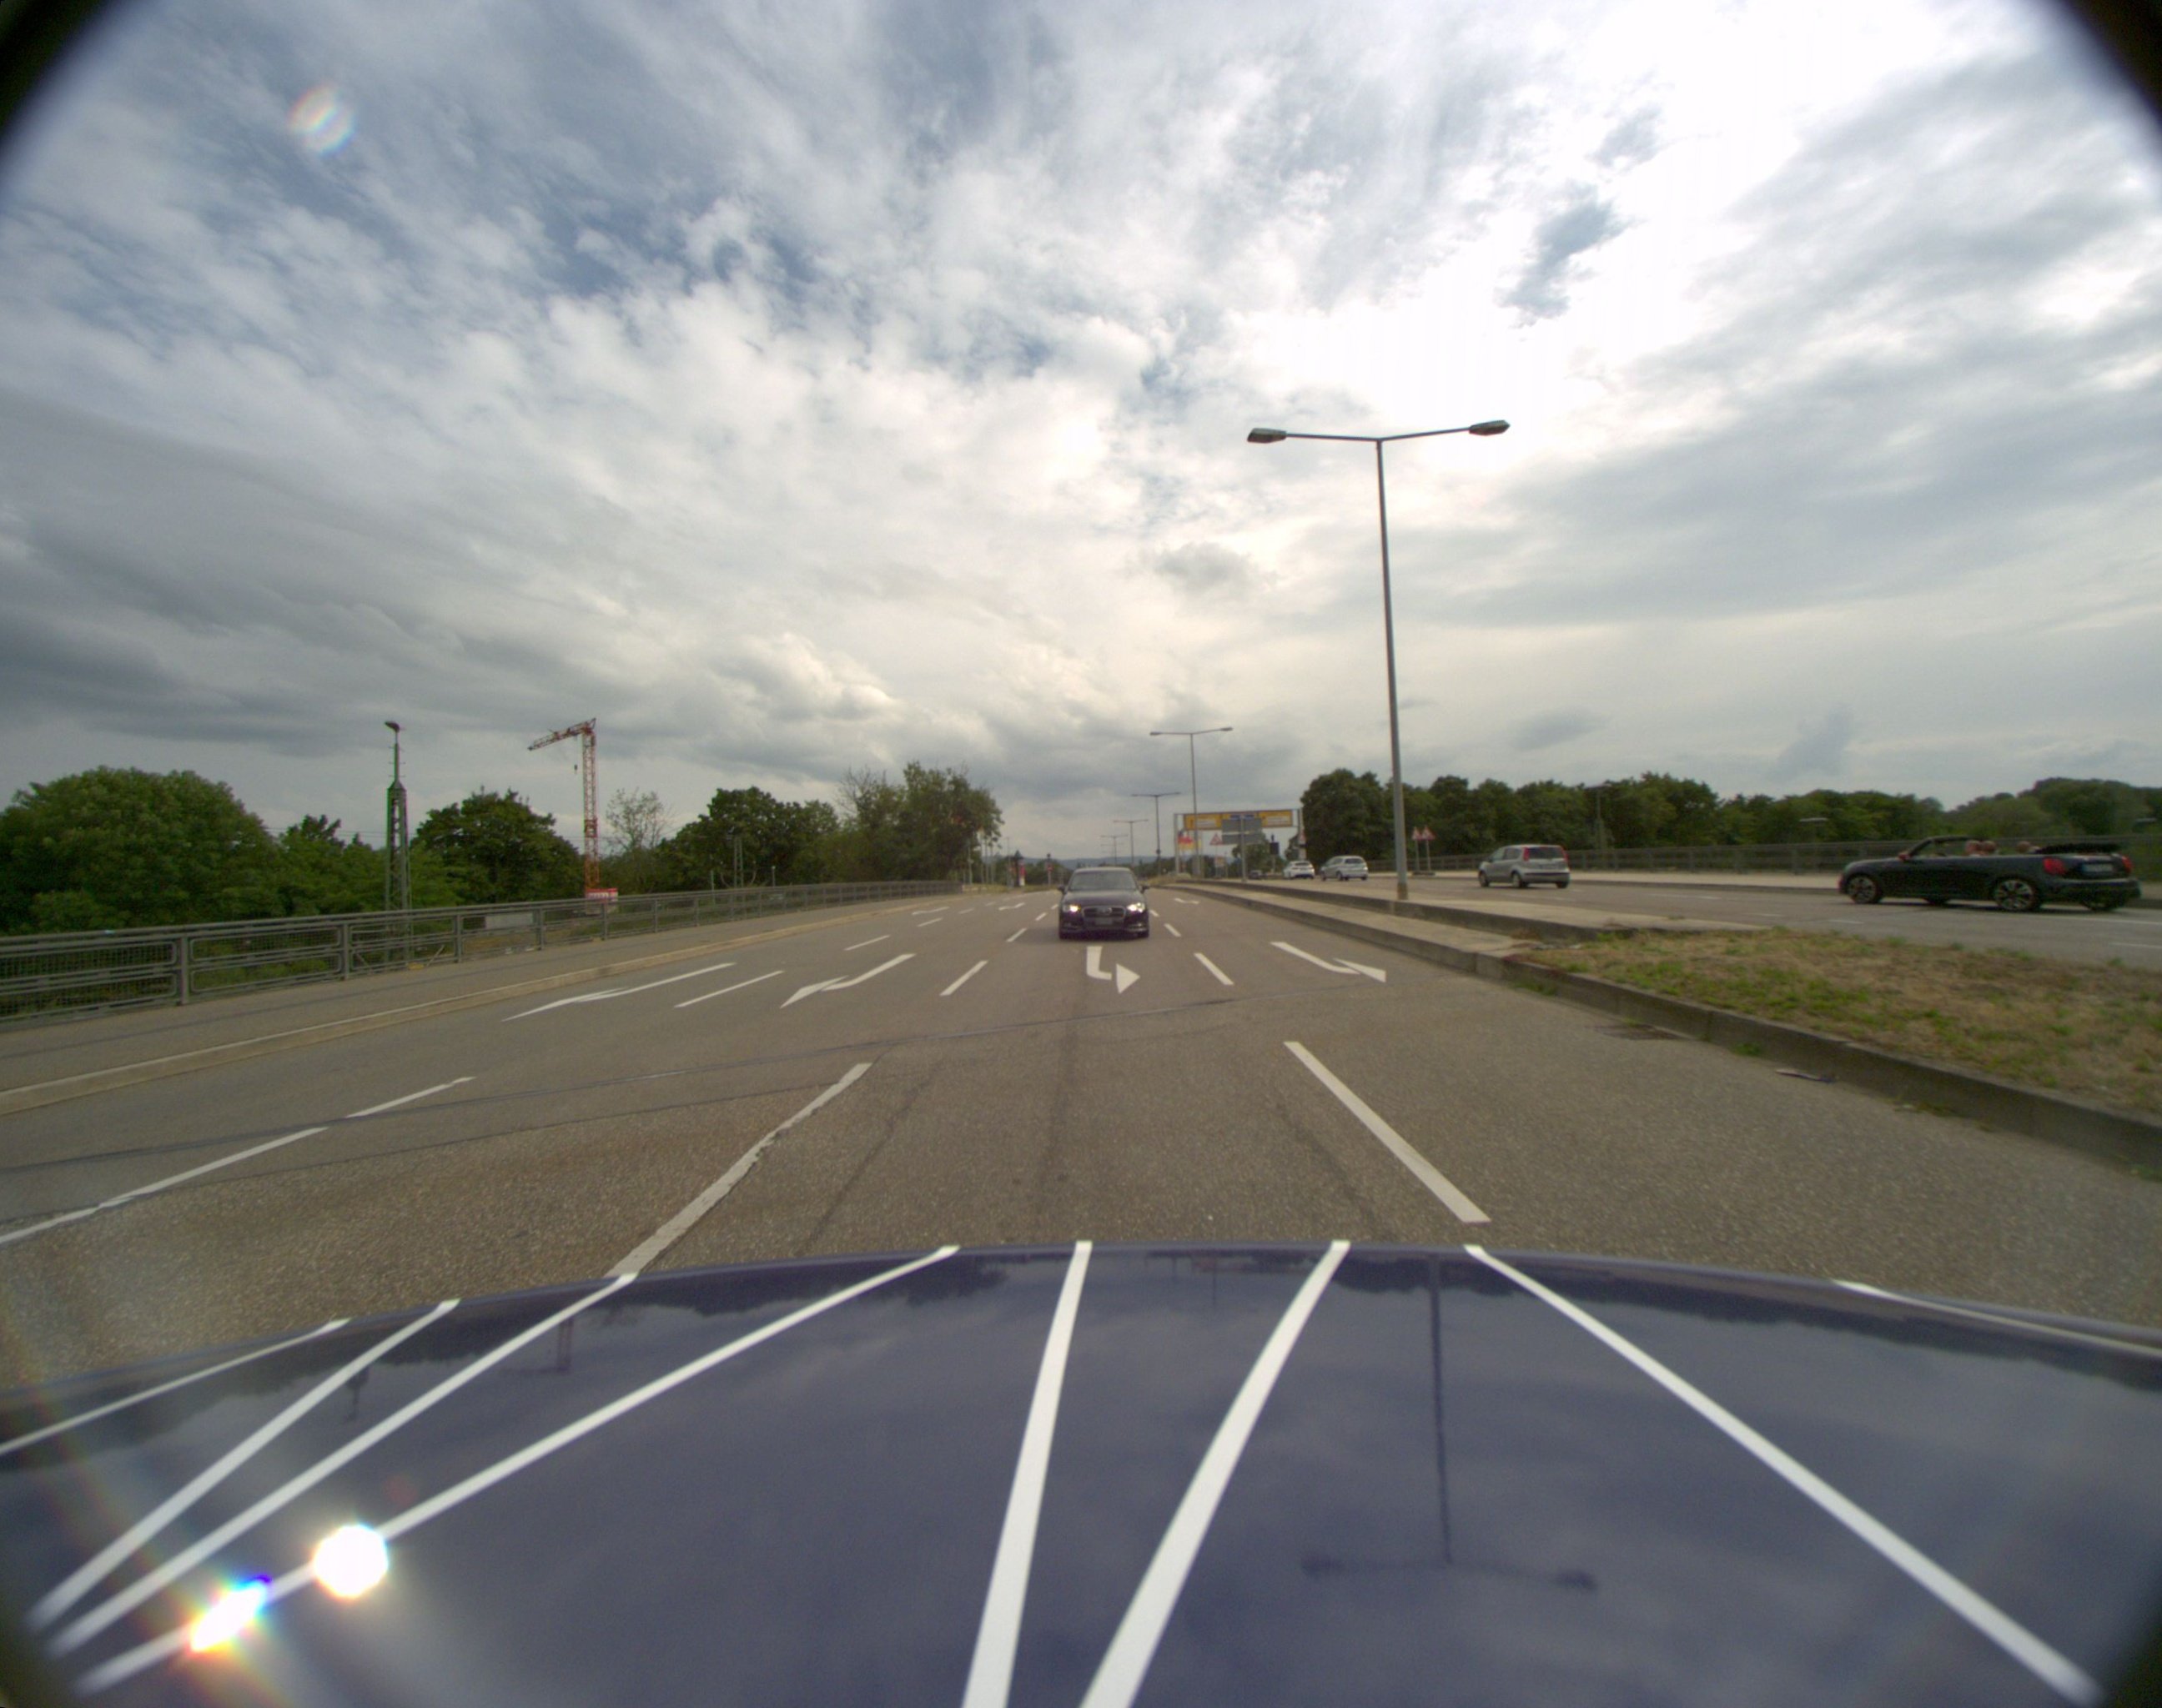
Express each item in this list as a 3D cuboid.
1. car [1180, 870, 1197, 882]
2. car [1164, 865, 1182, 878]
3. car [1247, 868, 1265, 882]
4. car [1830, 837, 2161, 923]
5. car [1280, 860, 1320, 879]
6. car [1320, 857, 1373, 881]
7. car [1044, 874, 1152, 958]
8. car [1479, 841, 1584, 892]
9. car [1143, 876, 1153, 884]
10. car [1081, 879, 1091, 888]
[{"bbox_3d":[16.025,3.250,113.629,1.892,1.630,4.219,-2,-1,1],"label":"car"},{"bbox_3d":[12.173,2.332,100.528,1.891,1.630,4.586,-2,-1,2],"label":"car"},{"bbox_3d":[23.692,2.817,102.717,1.889,1.630,4.552,-2,-1,17],"label":"car"},{"bbox_3d":[17.074,0.434,14.499,1.746,1.402,3.876,-1,0,0],"label":"car"},{"bbox_3d":[17.429,1.247,60.722,1.923,1.407,4.882,-1,-1,2],"label":"car"},{"bbox_3d":[16.304,0.886,46.840,1.813,1.407,4.029,-1,0,-1],"label":"car"},{"bbox_3d":[0.336,1.149,15.691,1.852,1.355,4.730,-2,-1,1],"label":"car"},{"bbox_3d":[15.987,0.413,27.216,1.745,1.649,4.081,-1,0,7],"label":"car"},{"bbox_3d":[14.452,5.519,163.138,1.727,1.522,3.918,-2,-1,-1],"label":"car"},{"bbox_3d":[0.935,5.407,140.320,1.745,1.467,3.813,-2,0,0],"label":"car"}]
